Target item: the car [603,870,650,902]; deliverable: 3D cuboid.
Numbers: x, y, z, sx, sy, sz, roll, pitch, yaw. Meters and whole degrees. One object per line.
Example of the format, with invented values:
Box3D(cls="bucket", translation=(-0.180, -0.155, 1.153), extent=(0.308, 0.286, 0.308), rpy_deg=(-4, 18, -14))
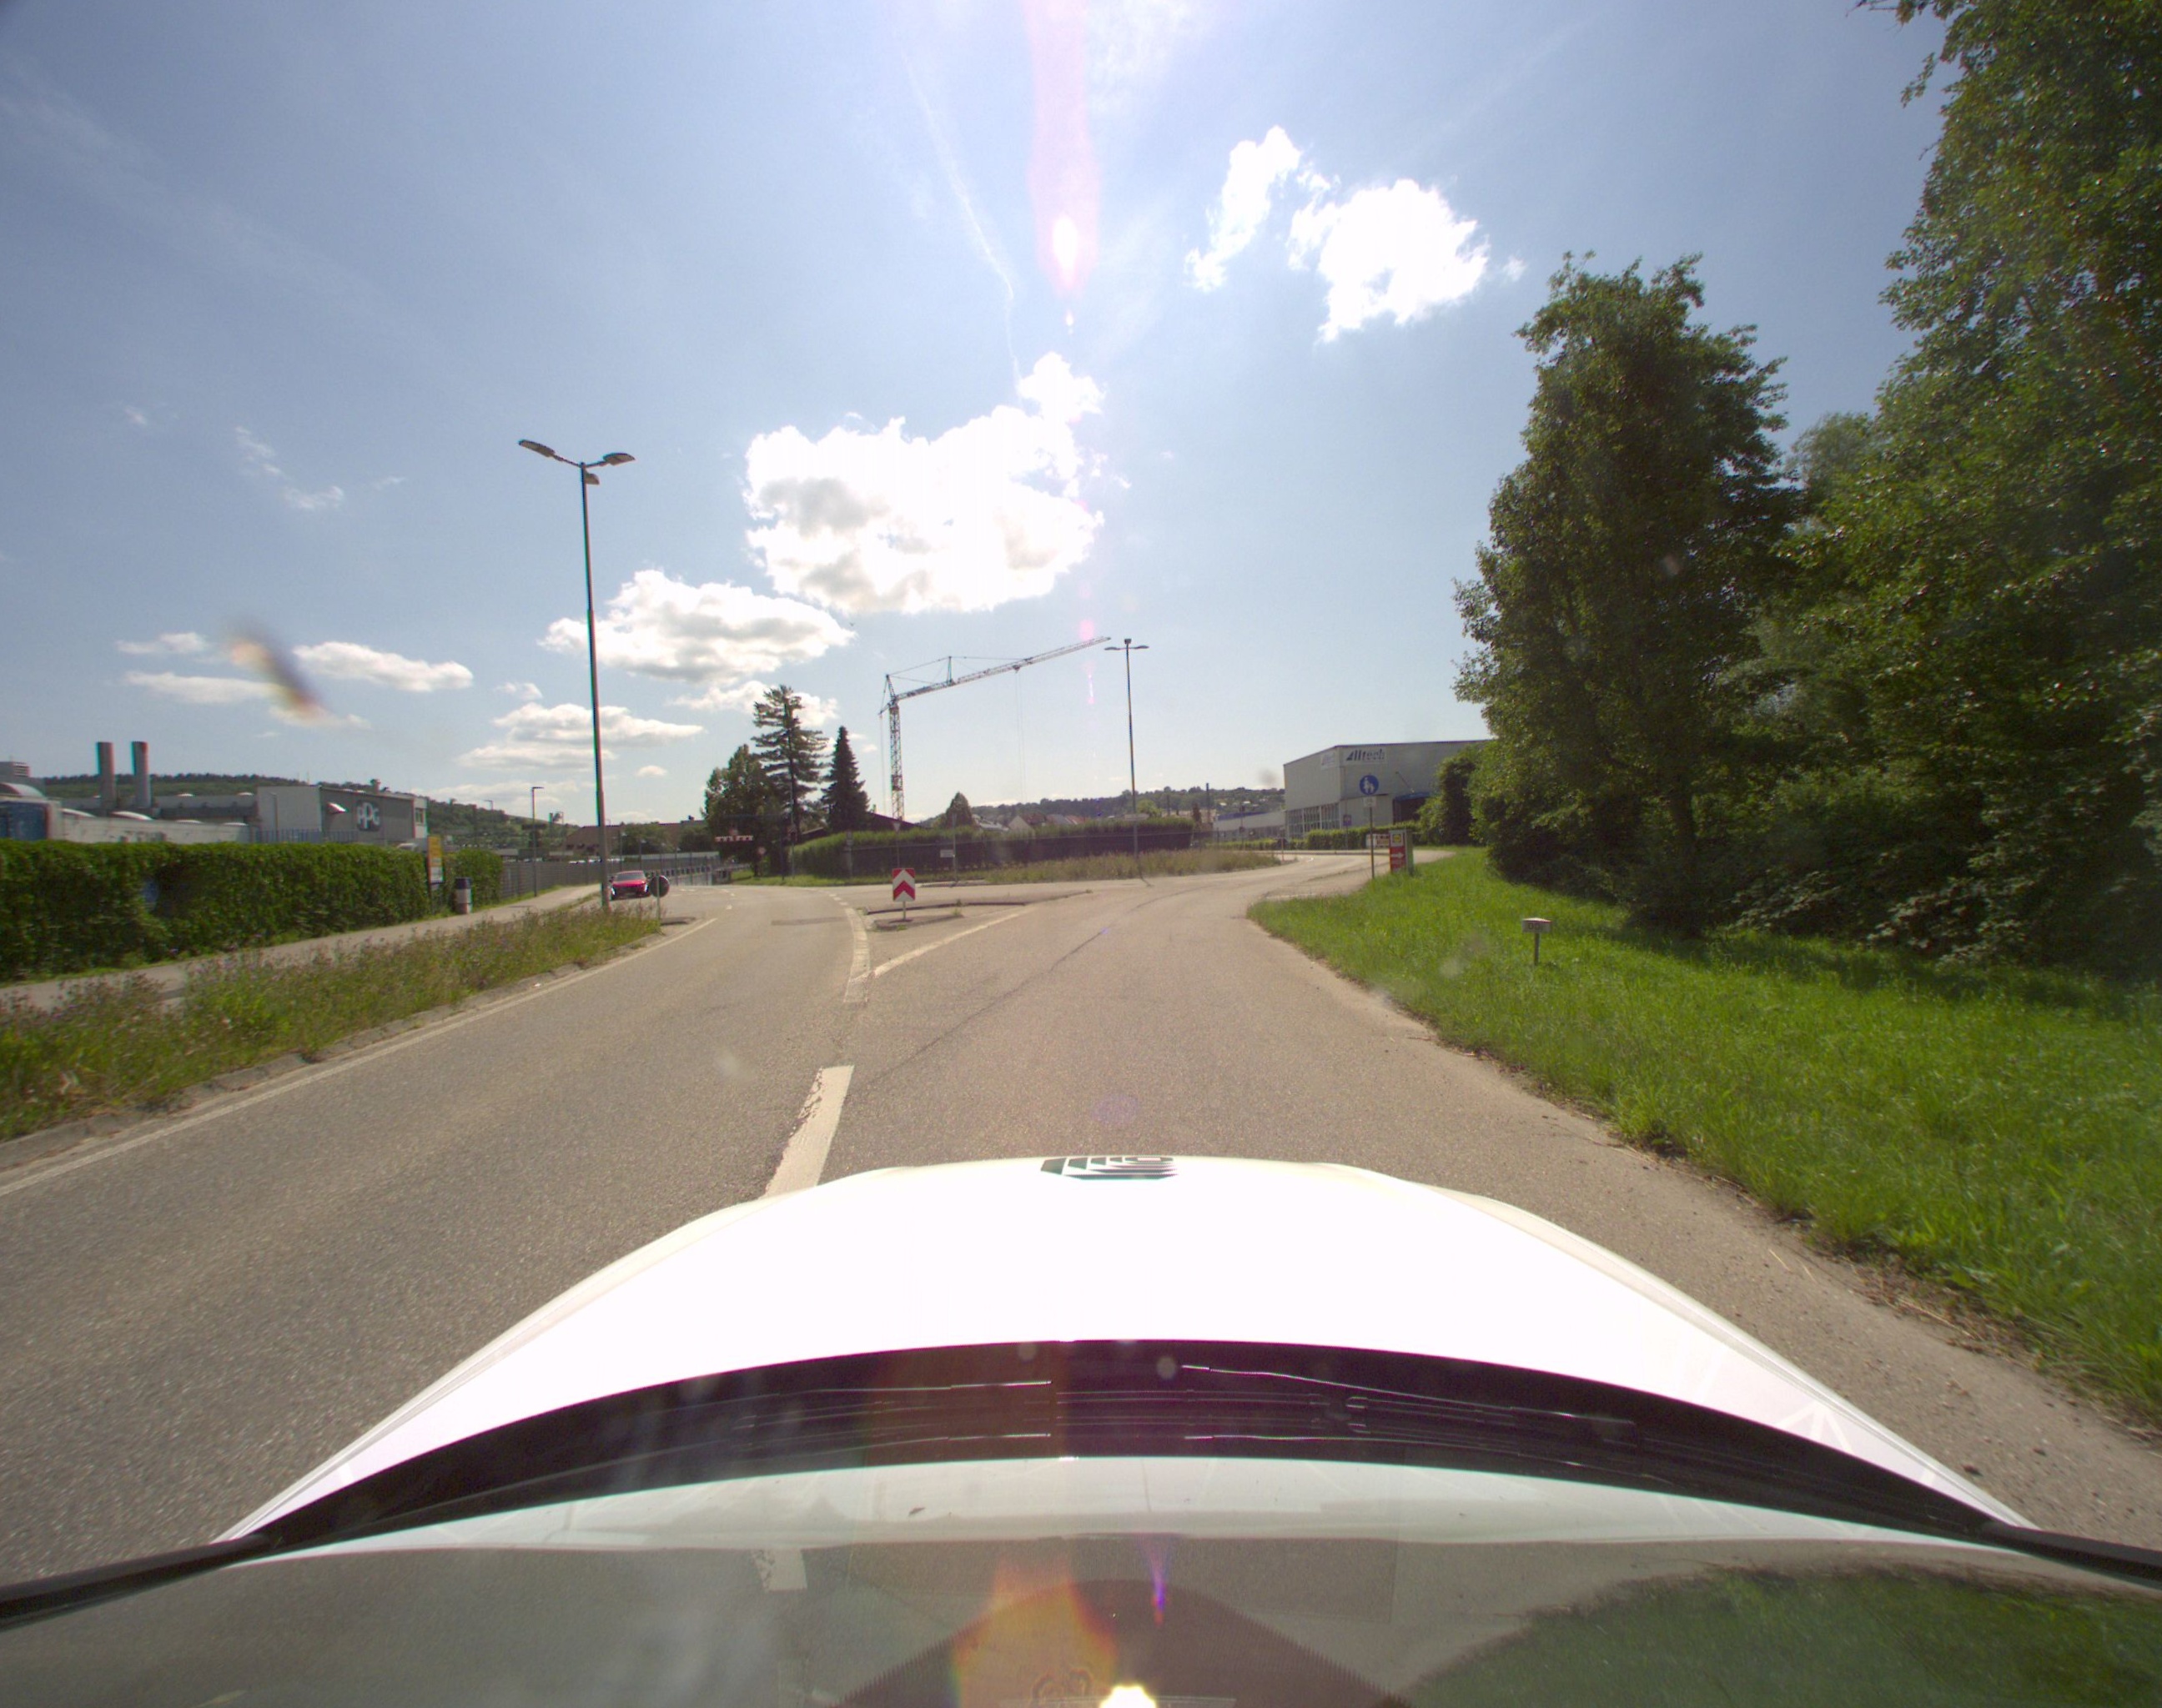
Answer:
Box3D(cls="car", translation=(-24.180, 1.665, 43.451), extent=(1.890, 1.464, 4.349), rpy_deg=(-4, 1, -26))
